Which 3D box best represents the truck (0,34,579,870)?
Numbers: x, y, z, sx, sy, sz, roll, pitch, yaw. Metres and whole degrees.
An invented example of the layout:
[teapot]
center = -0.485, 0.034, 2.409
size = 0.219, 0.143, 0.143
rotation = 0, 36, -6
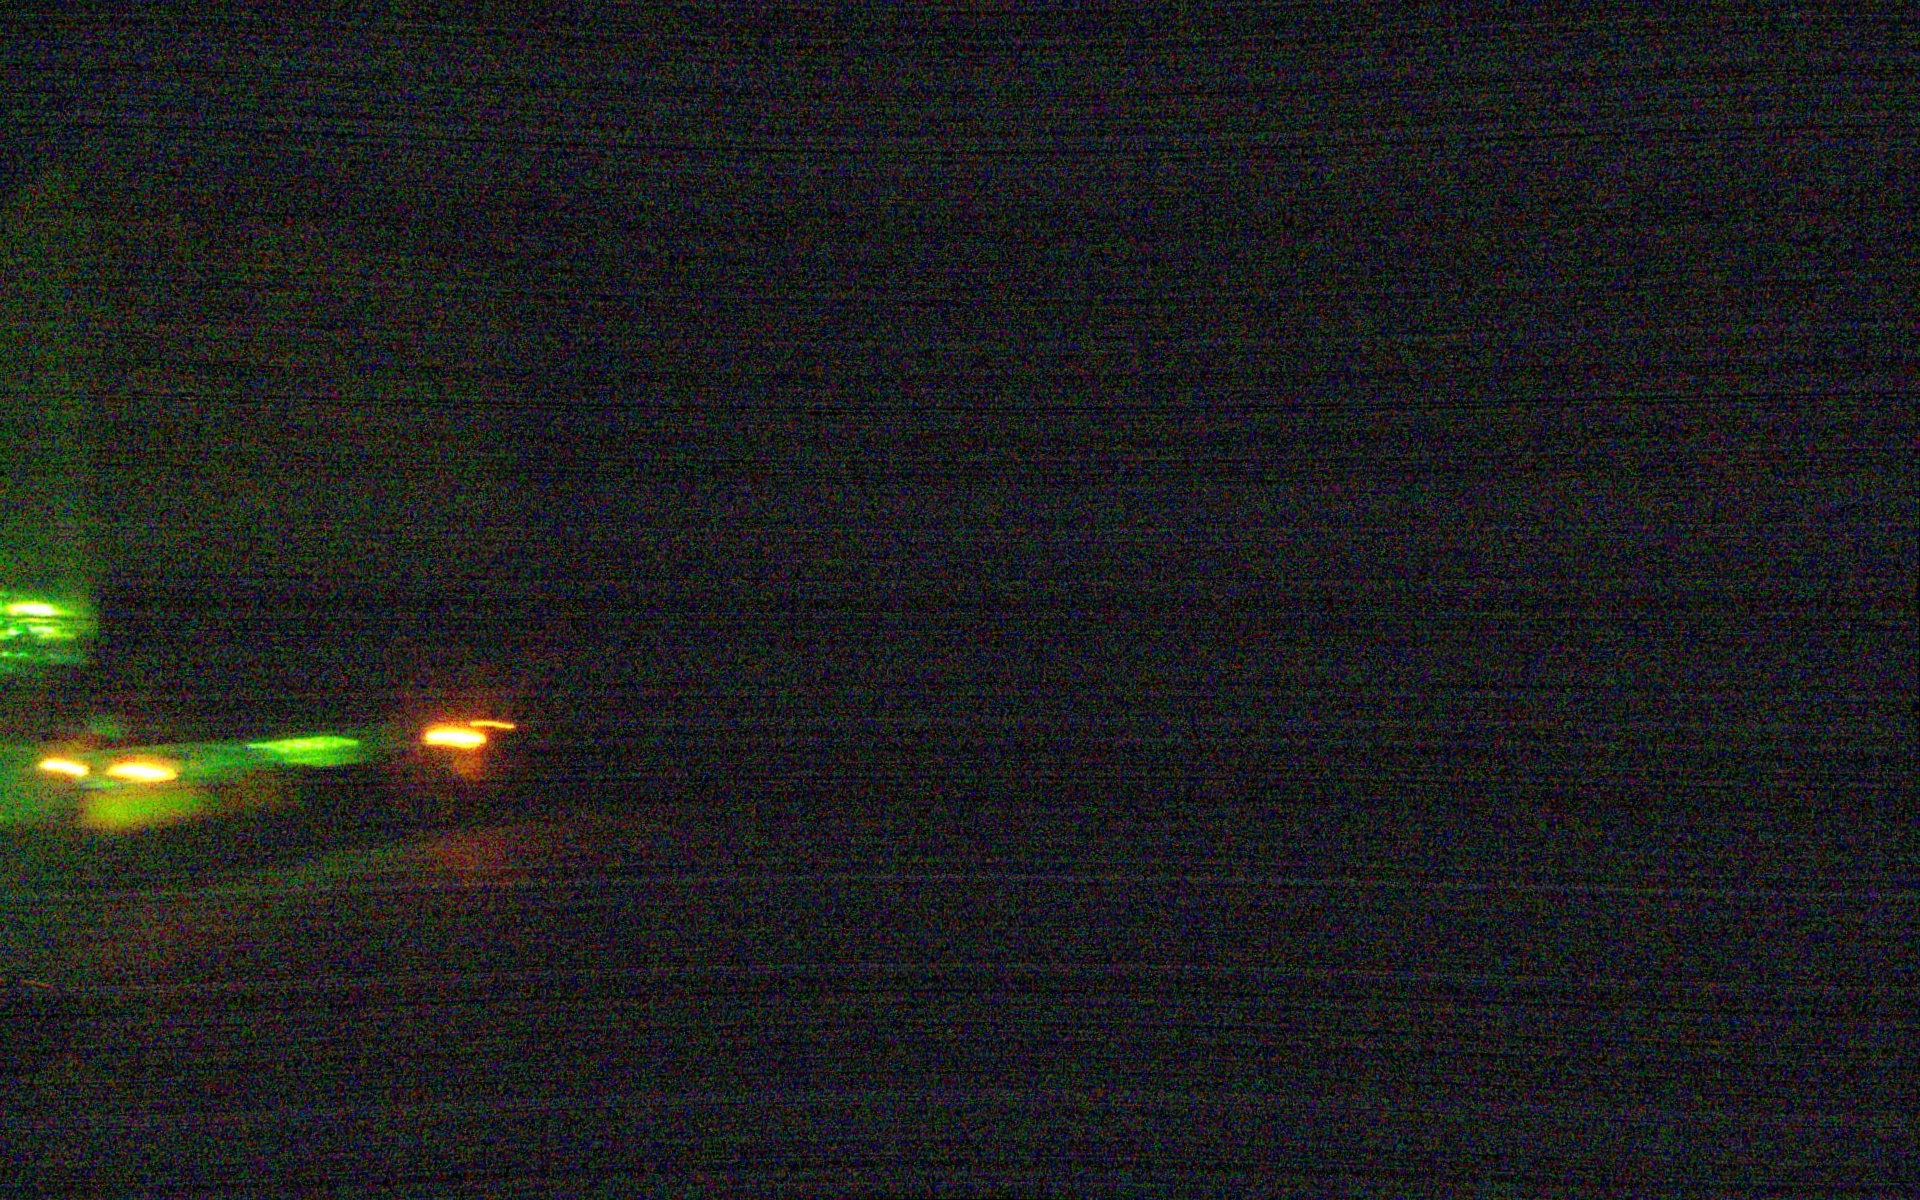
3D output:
[truck]
center = -11.802, -0.459, 11.276
size = 18.438, 4.186, 3.478
rotation = -2, -3, 31
